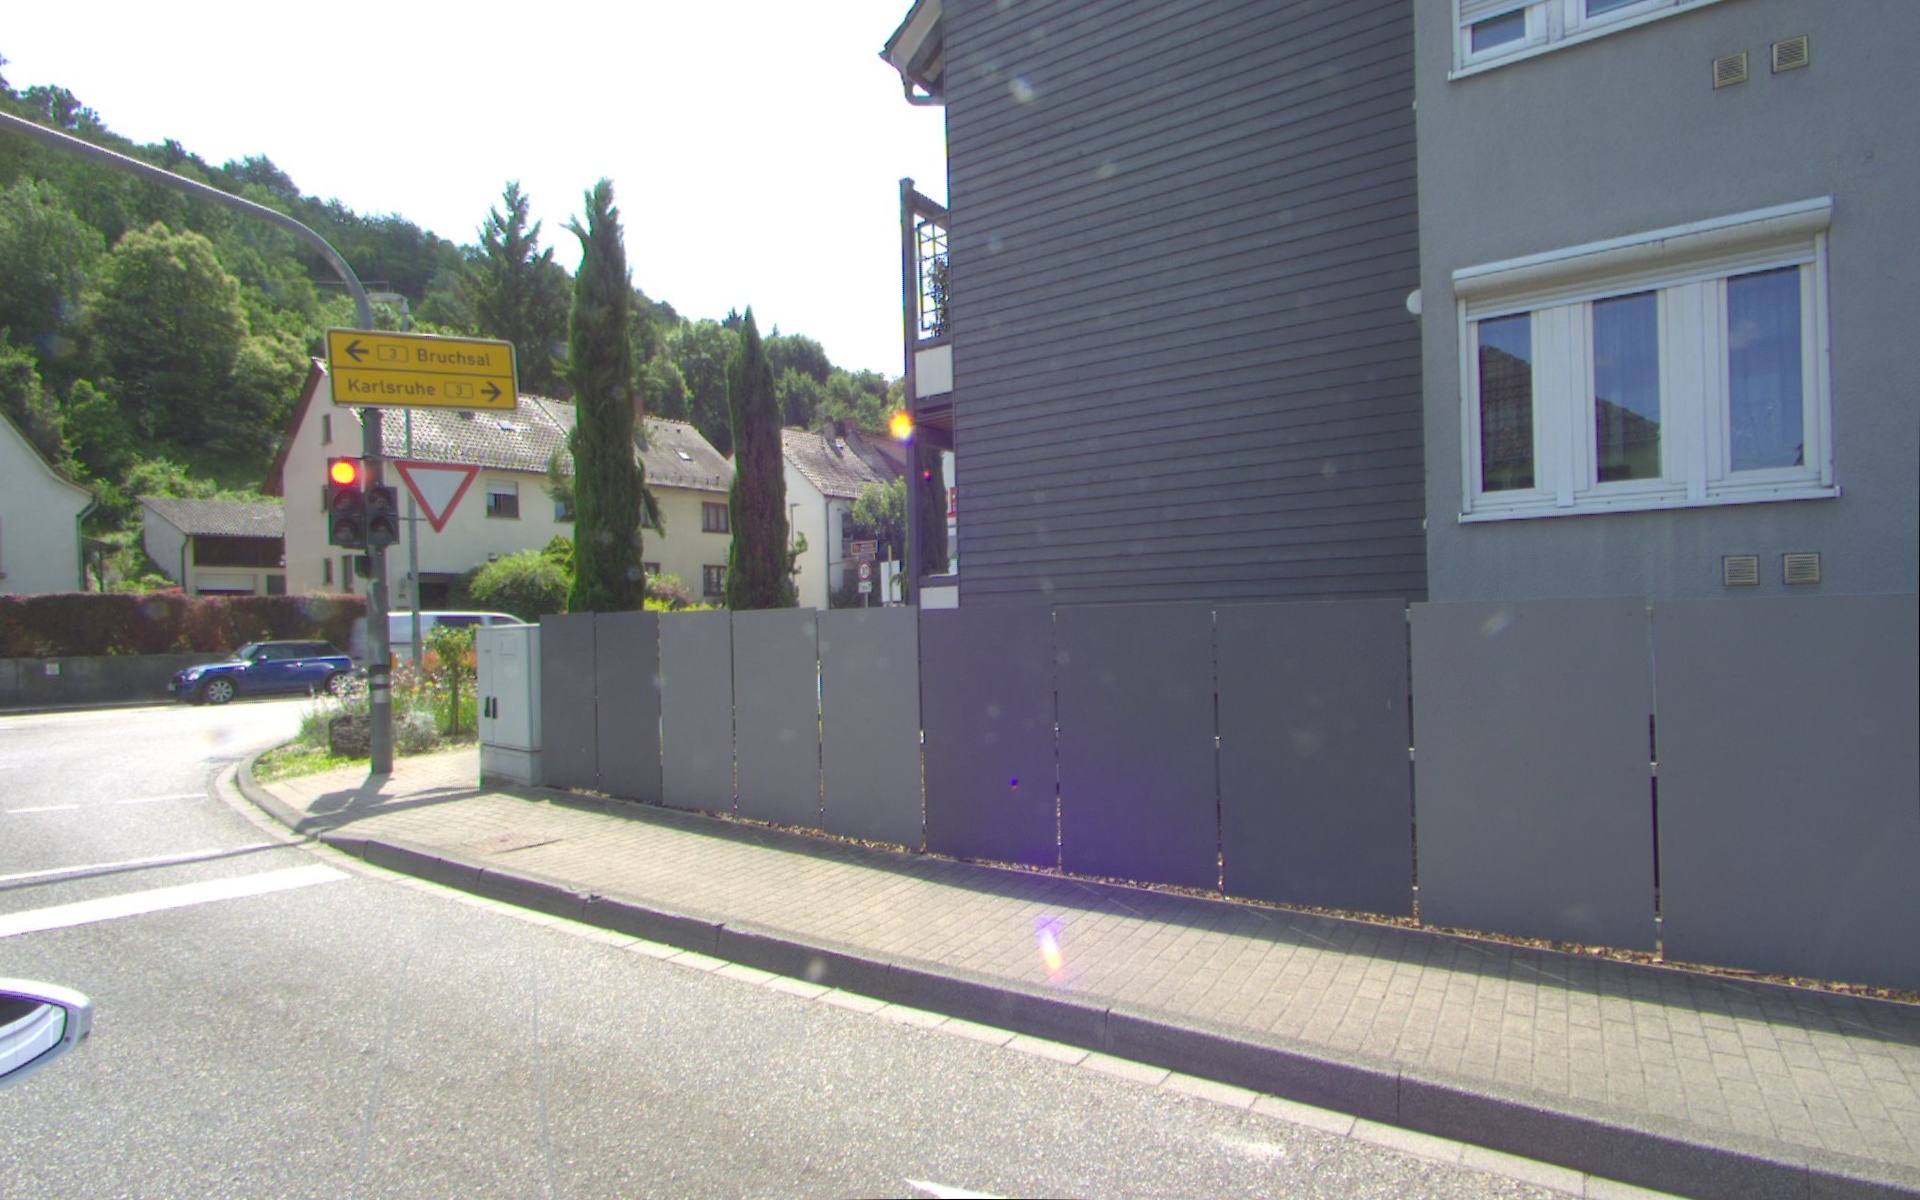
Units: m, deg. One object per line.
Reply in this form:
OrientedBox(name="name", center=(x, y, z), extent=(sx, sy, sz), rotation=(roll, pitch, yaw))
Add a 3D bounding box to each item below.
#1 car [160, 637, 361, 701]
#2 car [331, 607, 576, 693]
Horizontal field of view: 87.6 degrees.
OrientedBox(name="car", center=(-16.477, 1.603, 23.716), extent=(1.624, 1.379, 3.597), rotation=(-5, -4, 36))
OrientedBox(name="car", center=(-11.949, 1.161, 23.941), extent=(1.975, 1.844, 4.859), rotation=(-4, -3, 36))
